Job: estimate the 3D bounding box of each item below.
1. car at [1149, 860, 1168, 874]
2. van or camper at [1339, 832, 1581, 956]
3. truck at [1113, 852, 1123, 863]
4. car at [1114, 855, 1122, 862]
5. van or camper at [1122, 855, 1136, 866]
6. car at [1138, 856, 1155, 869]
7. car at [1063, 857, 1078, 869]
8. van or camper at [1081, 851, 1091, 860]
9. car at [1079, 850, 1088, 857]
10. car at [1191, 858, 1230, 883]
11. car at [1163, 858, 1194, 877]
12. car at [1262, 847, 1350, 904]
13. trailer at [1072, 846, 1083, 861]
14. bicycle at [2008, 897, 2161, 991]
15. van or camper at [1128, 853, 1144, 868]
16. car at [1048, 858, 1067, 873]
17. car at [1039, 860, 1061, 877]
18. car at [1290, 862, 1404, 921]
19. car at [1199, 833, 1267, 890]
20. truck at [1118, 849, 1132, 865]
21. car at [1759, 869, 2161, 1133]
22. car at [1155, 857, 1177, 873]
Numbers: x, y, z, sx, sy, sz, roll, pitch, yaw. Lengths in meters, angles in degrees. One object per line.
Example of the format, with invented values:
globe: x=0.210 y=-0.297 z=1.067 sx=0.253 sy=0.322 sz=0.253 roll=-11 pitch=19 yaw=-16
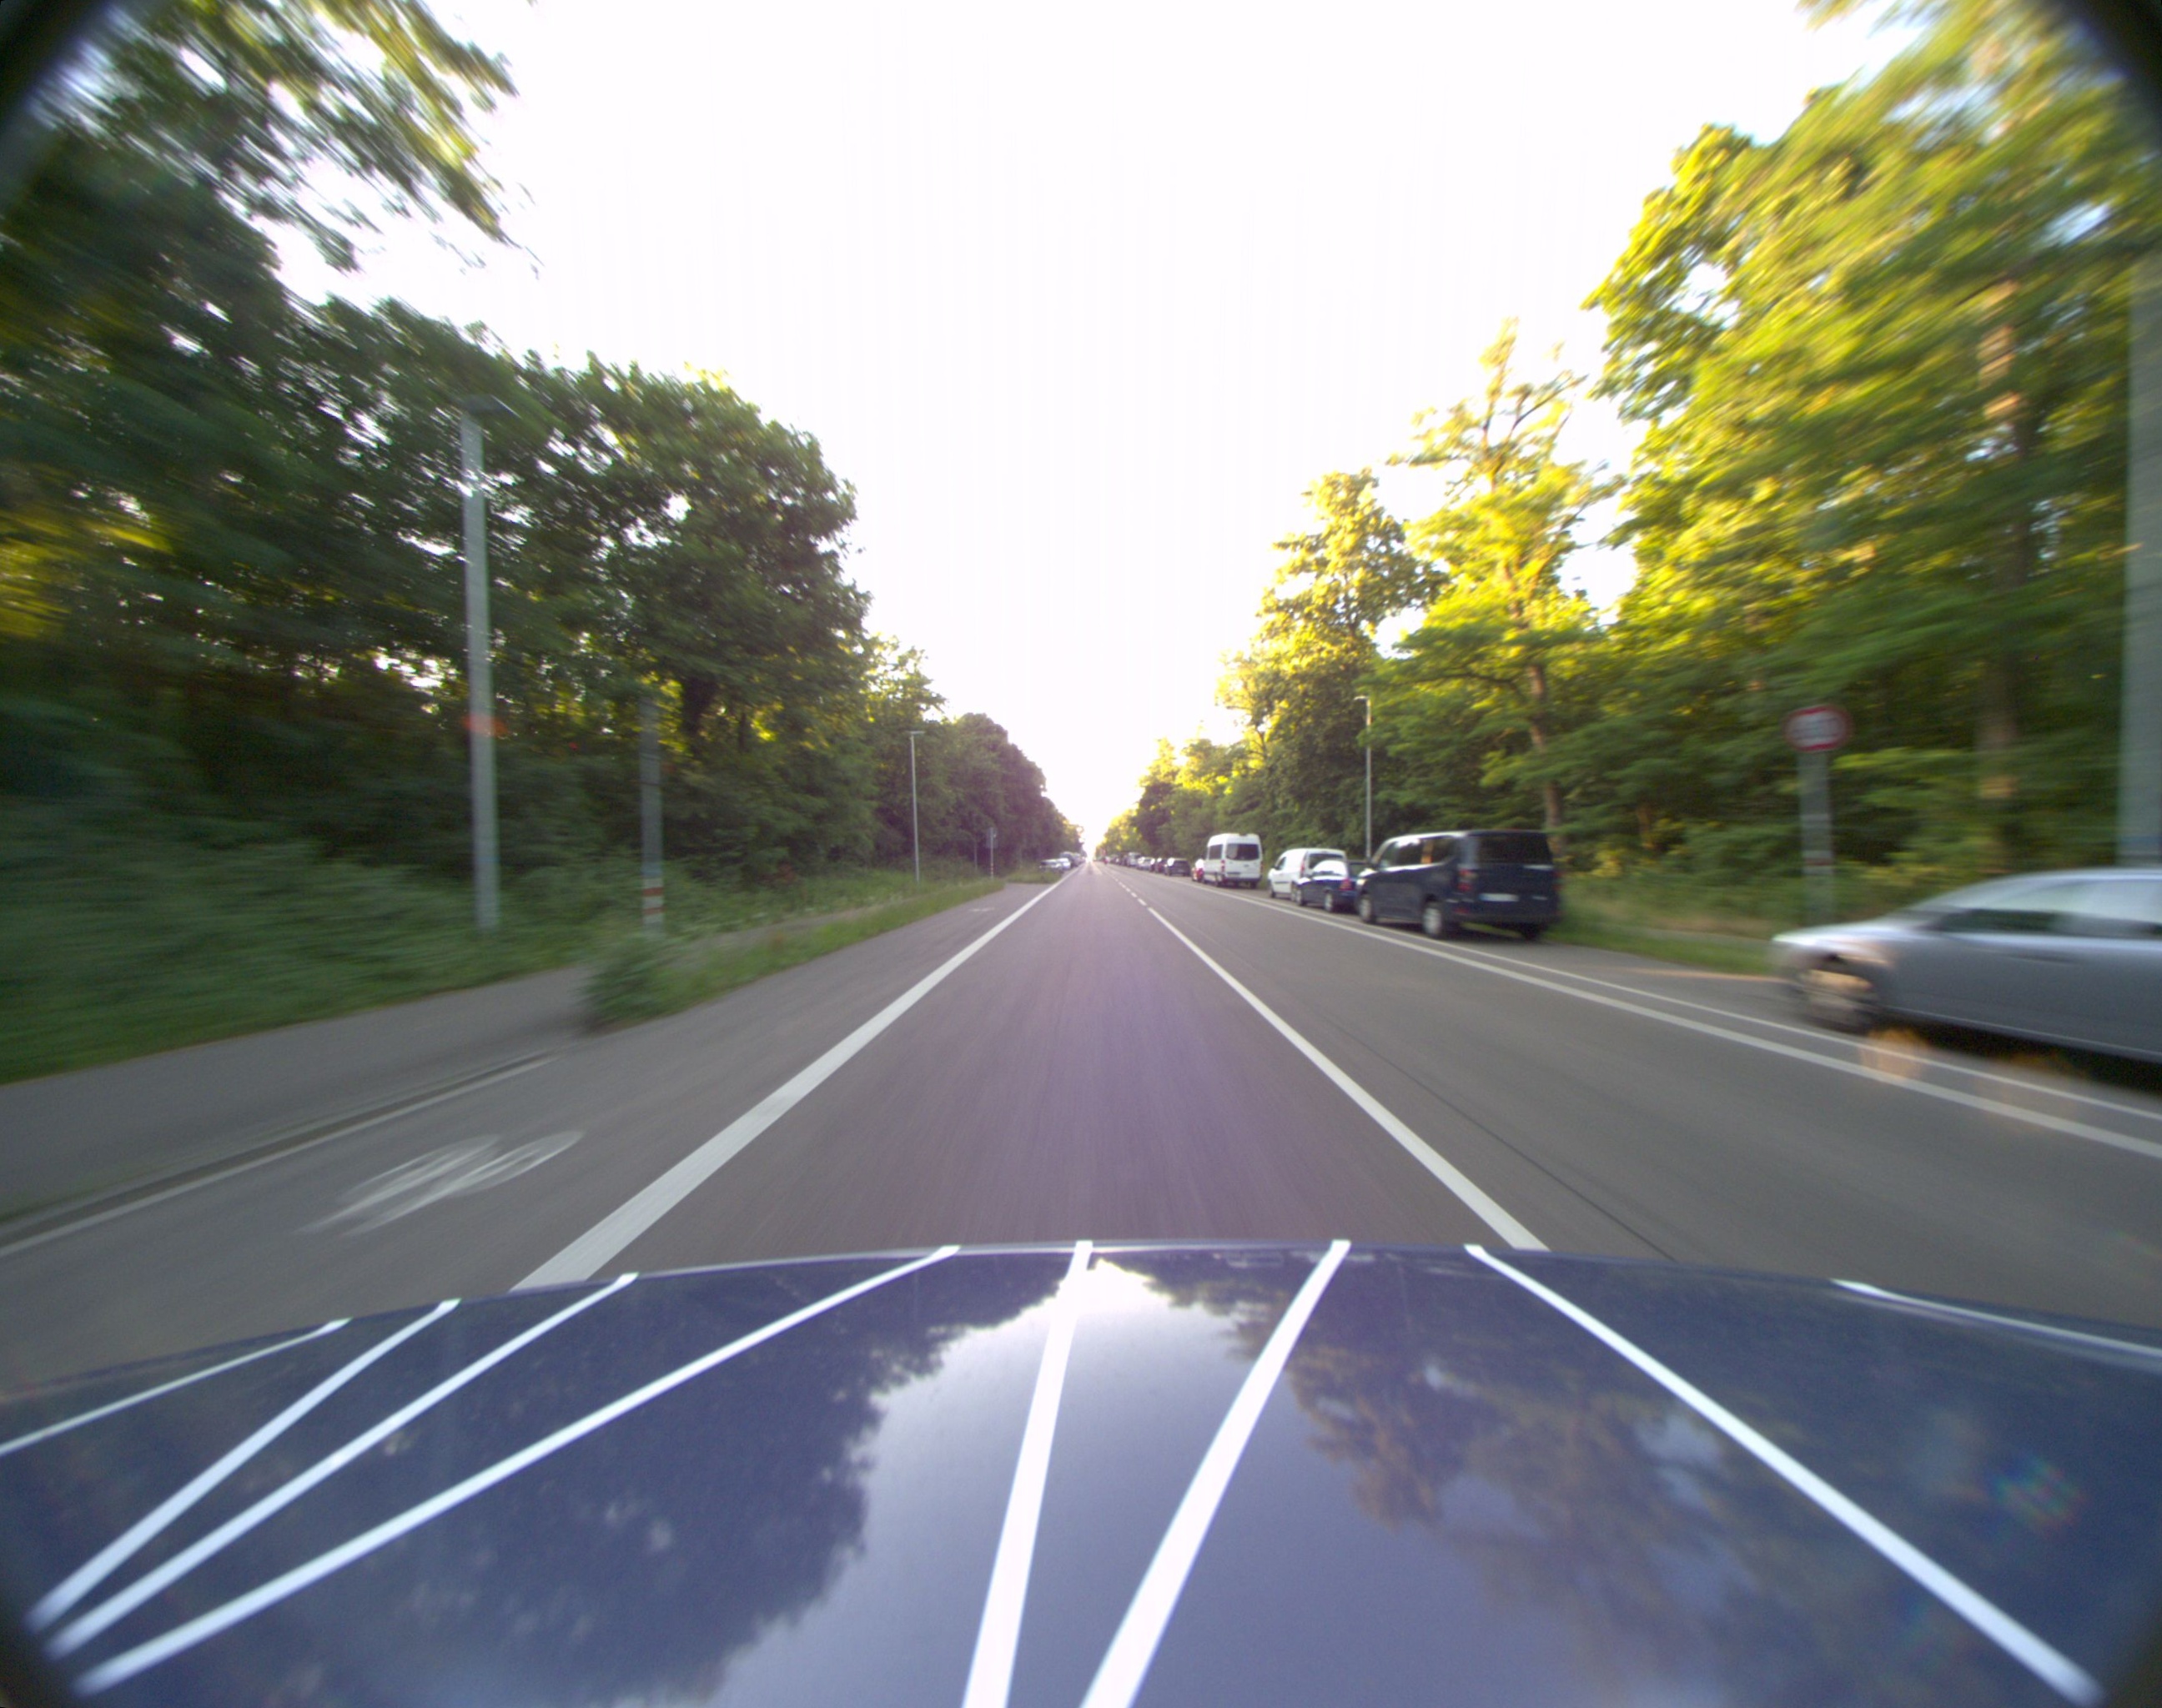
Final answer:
car: x=8.026 y=1.319 z=78.778 sx=1.601 sy=1.386 sz=4.052 roll=0 pitch=0 yaw=0
van or camper: x=7.205 y=0.671 z=15.293 sx=2.008 sy=2.006 sz=5.460 roll=1 pitch=0 yaw=-1
truck: x=10.970 y=1.000 z=227.929 sx=2.654 sy=3.038 sz=5.801 roll=-2 pitch=0 yaw=1
car: x=8.564 y=1.003 z=174.871 sx=1.606 sy=1.495 sz=3.760 roll=2 pitch=0 yaw=3
van or camper: x=8.998 y=1.272 z=143.259 sx=2.034 sy=1.945 sz=4.692 roll=2 pitch=0 yaw=-2
car: x=8.288 y=1.072 z=96.137 sx=1.699 sy=1.636 sz=4.572 roll=1 pitch=0 yaw=-1
car: x=-1.421 y=1.188 z=102.790 sx=1.848 sy=1.484 sz=4.759 roll=-2 pitch=-1 yaw=-1
van or camper: x=1.493 y=0.378 z=227.230 sx=3.015 sy=2.703 sz=6.960 roll=-1 pitch=0 yaw=1
car: x=0.826 y=-0.187 z=236.915 sx=2.537 sy=2.270 sz=5.554 roll=-1 pitch=0 yaw=1
car: x=7.711 y=0.957 z=45.471 sx=1.720 sy=1.422 sz=4.388 roll=0 pitch=0 yaw=2
car: x=8.019 y=1.083 z=62.647 sx=1.850 sy=1.454 sz=4.229 roll=1 pitch=0 yaw=-2
car: x=7.828 y=0.704 z=26.841 sx=1.692 sy=1.847 sz=4.386 roll=0 pitch=0 yaw=-2
trailer: x=-0.701 y=-0.110 z=143.422 sx=1.866 sy=2.633 sz=4.270 roll=-2 pitch=0 yaw=0
bicycle: x=12.259 y=1.038 z=9.003 sx=0.454 sy=0.969 sz=1.718 roll=0 pitch=0 yaw=0
van or camper: x=8.923 y=1.005 z=123.904 sx=2.116 sy=2.376 sz=6.381 roll=2 pitch=0 yaw=-1
car: x=-2.448 y=1.193 z=79.077 sx=1.693 sy=1.537 sz=4.112 roll=-1 pitch=0 yaw=1
car: x=-2.770 y=1.268 z=68.877 sx=1.715 sy=1.436 sz=4.123 roll=-2 pitch=0 yaw=1
car: x=7.357 y=0.973 z=21.482 sx=1.674 sy=1.424 sz=4.447 roll=1 pitch=0 yaw=1
car: x=7.668 y=0.355 z=39.139 sx=2.084 sy=2.591 sz=7.089 roll=2 pitch=0 yaw=1
truck: x=9.020 y=0.662 z=156.637 sx=2.226 sy=3.188 sz=6.271 roll=2 pitch=0 yaw=0
car: x=7.161 y=0.894 z=4.928 sx=1.673 sy=1.492 sz=4.246 roll=1 pitch=0 yaw=-1
car: x=8.129 y=1.066 z=72.673 sx=1.716 sy=1.500 sz=3.657 roll=1 pitch=0 yaw=0
